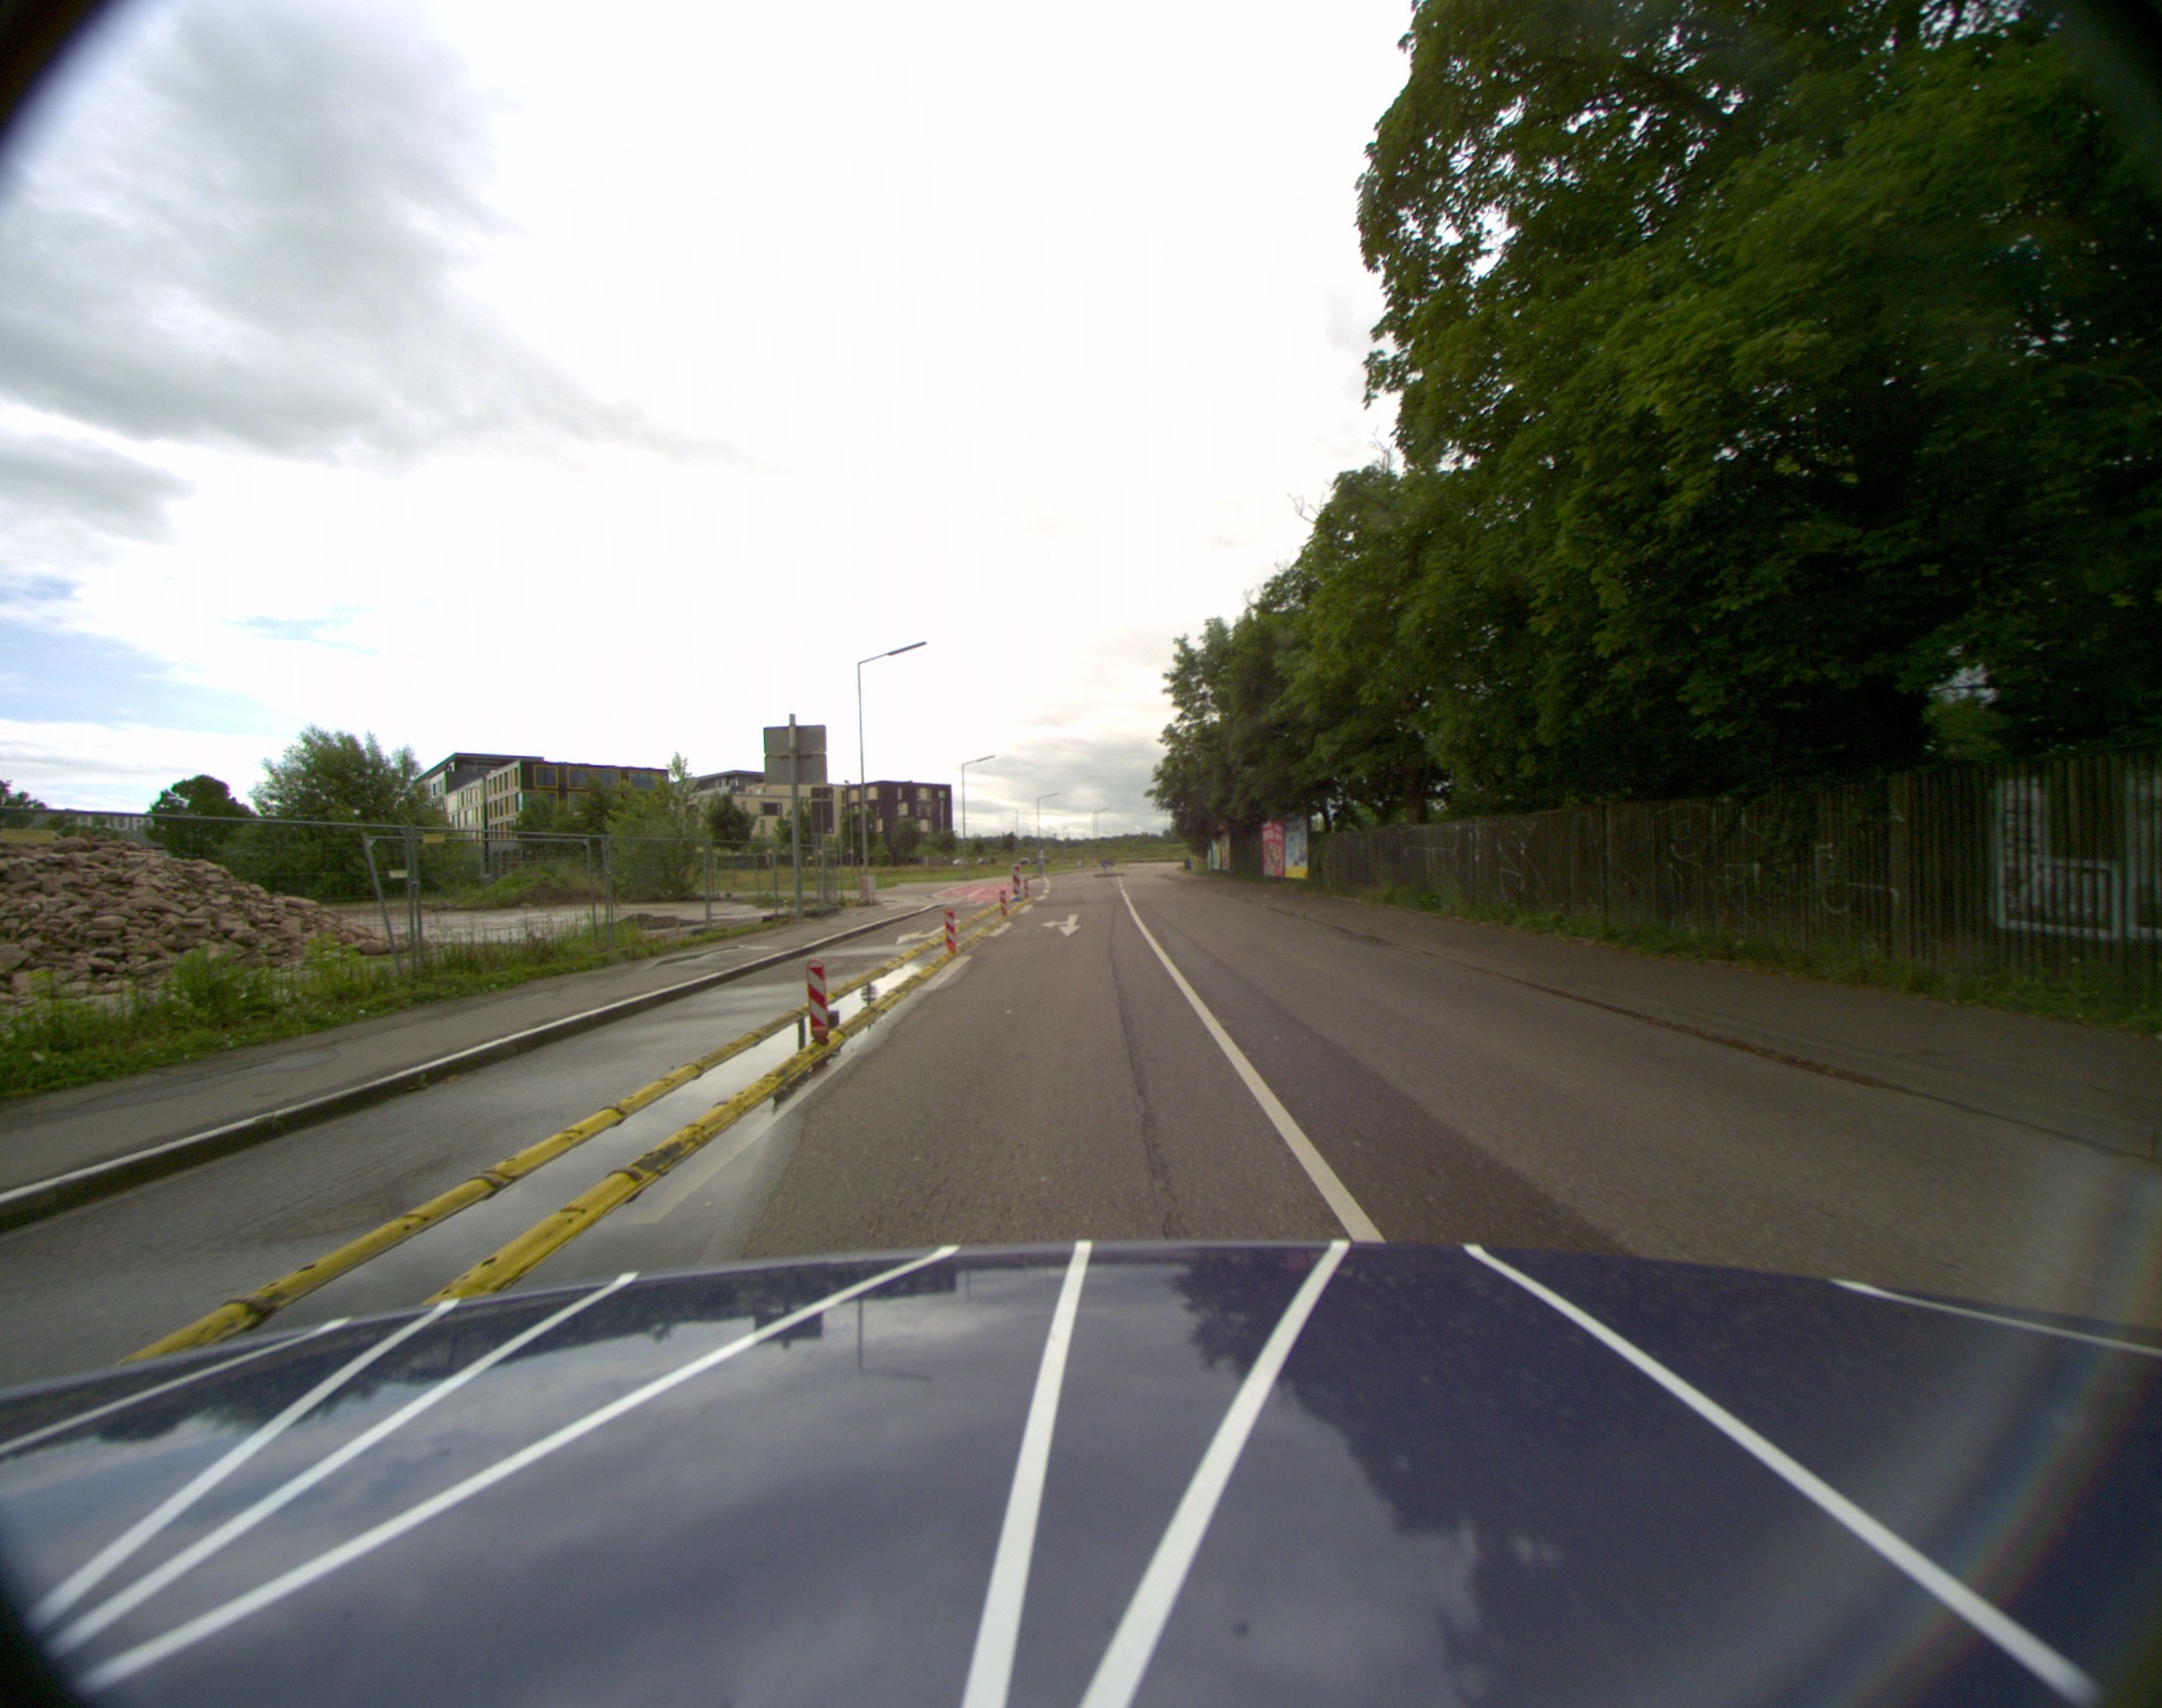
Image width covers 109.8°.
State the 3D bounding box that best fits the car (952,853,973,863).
[{"bbox_3d":[-25.676,0.837,164.943,1.994,2.002,4.008,-1,0,42],"label":"car"}]

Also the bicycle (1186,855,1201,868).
[{"bbox_3d":[9.456,0.646,63.784,0.583,0.992,1.773,-4,0,28],"label":"bicycle"}]

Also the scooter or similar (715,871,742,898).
[{"bbox_3d":[-16.024,1.388,34.544,1.171,1.178,0.447,-1,1,26],"label":"scooter or similar"}]

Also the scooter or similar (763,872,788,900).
[{"bbox_3d":[-13.476,1.401,33.490,1.323,1.178,0.447,-1,1,42],"label":"scooter or similar"}]
